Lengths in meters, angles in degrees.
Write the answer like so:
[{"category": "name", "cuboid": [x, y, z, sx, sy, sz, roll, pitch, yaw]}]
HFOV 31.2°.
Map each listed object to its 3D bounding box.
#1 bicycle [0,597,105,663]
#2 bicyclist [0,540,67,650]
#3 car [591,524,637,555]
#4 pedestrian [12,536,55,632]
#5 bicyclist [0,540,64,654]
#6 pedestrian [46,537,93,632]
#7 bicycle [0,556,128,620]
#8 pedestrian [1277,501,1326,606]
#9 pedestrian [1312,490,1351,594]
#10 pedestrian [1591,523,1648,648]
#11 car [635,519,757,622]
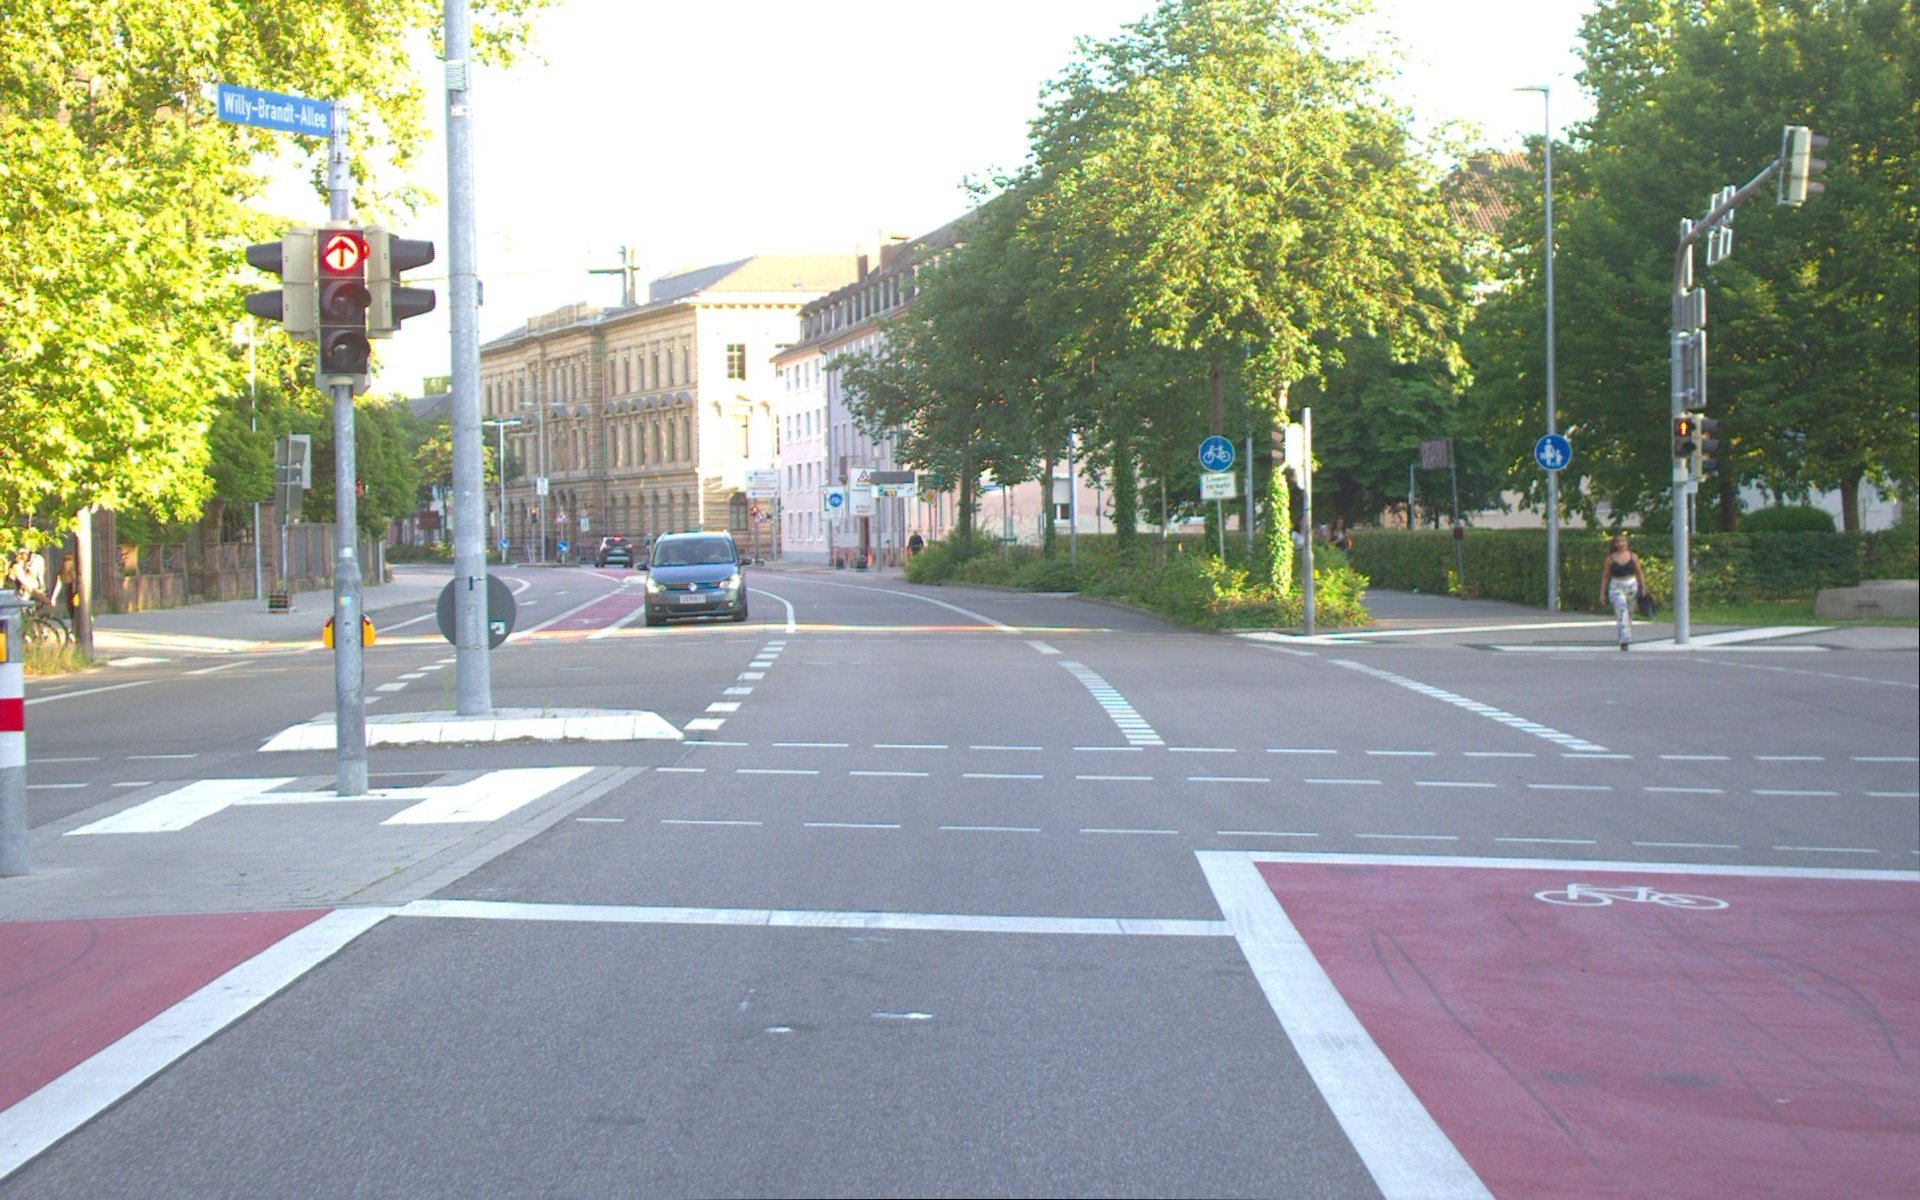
[{"category": "bicycle", "cuboid": [-13.678, 0.440, 49.690, 2.430, 0.921, 0.775, -1, 1, 1]}, {"category": "bicyclist", "cuboid": [-13.908, -0.079, 51.240, 0.958, 1.625, 0.753, -1, 1, 1]}, {"category": "car", "cuboid": [-18.040, -3.151, 179.170, 1.819, 1.583, 4.001, -2, 2, -14]}, {"category": "pedestrian", "cuboid": [-15.515, -0.266, 57.560, 0.535, 1.591, 0.590, -1, 1, 0]}, {"category": "bicyclist", "cuboid": [-13.537, -0.048, 49.685, 0.958, 1.625, 0.753, -1, 1, 1]}, {"category": "pedestrian", "cuboid": [-14.869, -0.259, 57.401, 0.599, 1.568, 0.646, -1, 1, 0]}, {"category": "bicycle", "cuboid": [-13.712, -0.174, 51.238, 2.430, 0.921, 0.775, -1, 1, 1]}, {"category": "pedestrian", "cuboid": [6.572, -0.895, 66.188, 0.870, 2.007, 0.722, 0, 1, 0]}, {"category": "pedestrian", "cuboid": [7.239, -1.125, 66.993, 0.635, 2.007, 0.720, 0, 1, -4]}, {"category": "pedestrian", "cuboid": [8.781, -0.199, 45.763, 0.599, 1.630, 0.691, 0, 2, -1]}, {"category": "car", "cuboid": [-4.726, -0.562, 61.986, 1.849, 1.714, 4.296, -3, 1, -1]}]
